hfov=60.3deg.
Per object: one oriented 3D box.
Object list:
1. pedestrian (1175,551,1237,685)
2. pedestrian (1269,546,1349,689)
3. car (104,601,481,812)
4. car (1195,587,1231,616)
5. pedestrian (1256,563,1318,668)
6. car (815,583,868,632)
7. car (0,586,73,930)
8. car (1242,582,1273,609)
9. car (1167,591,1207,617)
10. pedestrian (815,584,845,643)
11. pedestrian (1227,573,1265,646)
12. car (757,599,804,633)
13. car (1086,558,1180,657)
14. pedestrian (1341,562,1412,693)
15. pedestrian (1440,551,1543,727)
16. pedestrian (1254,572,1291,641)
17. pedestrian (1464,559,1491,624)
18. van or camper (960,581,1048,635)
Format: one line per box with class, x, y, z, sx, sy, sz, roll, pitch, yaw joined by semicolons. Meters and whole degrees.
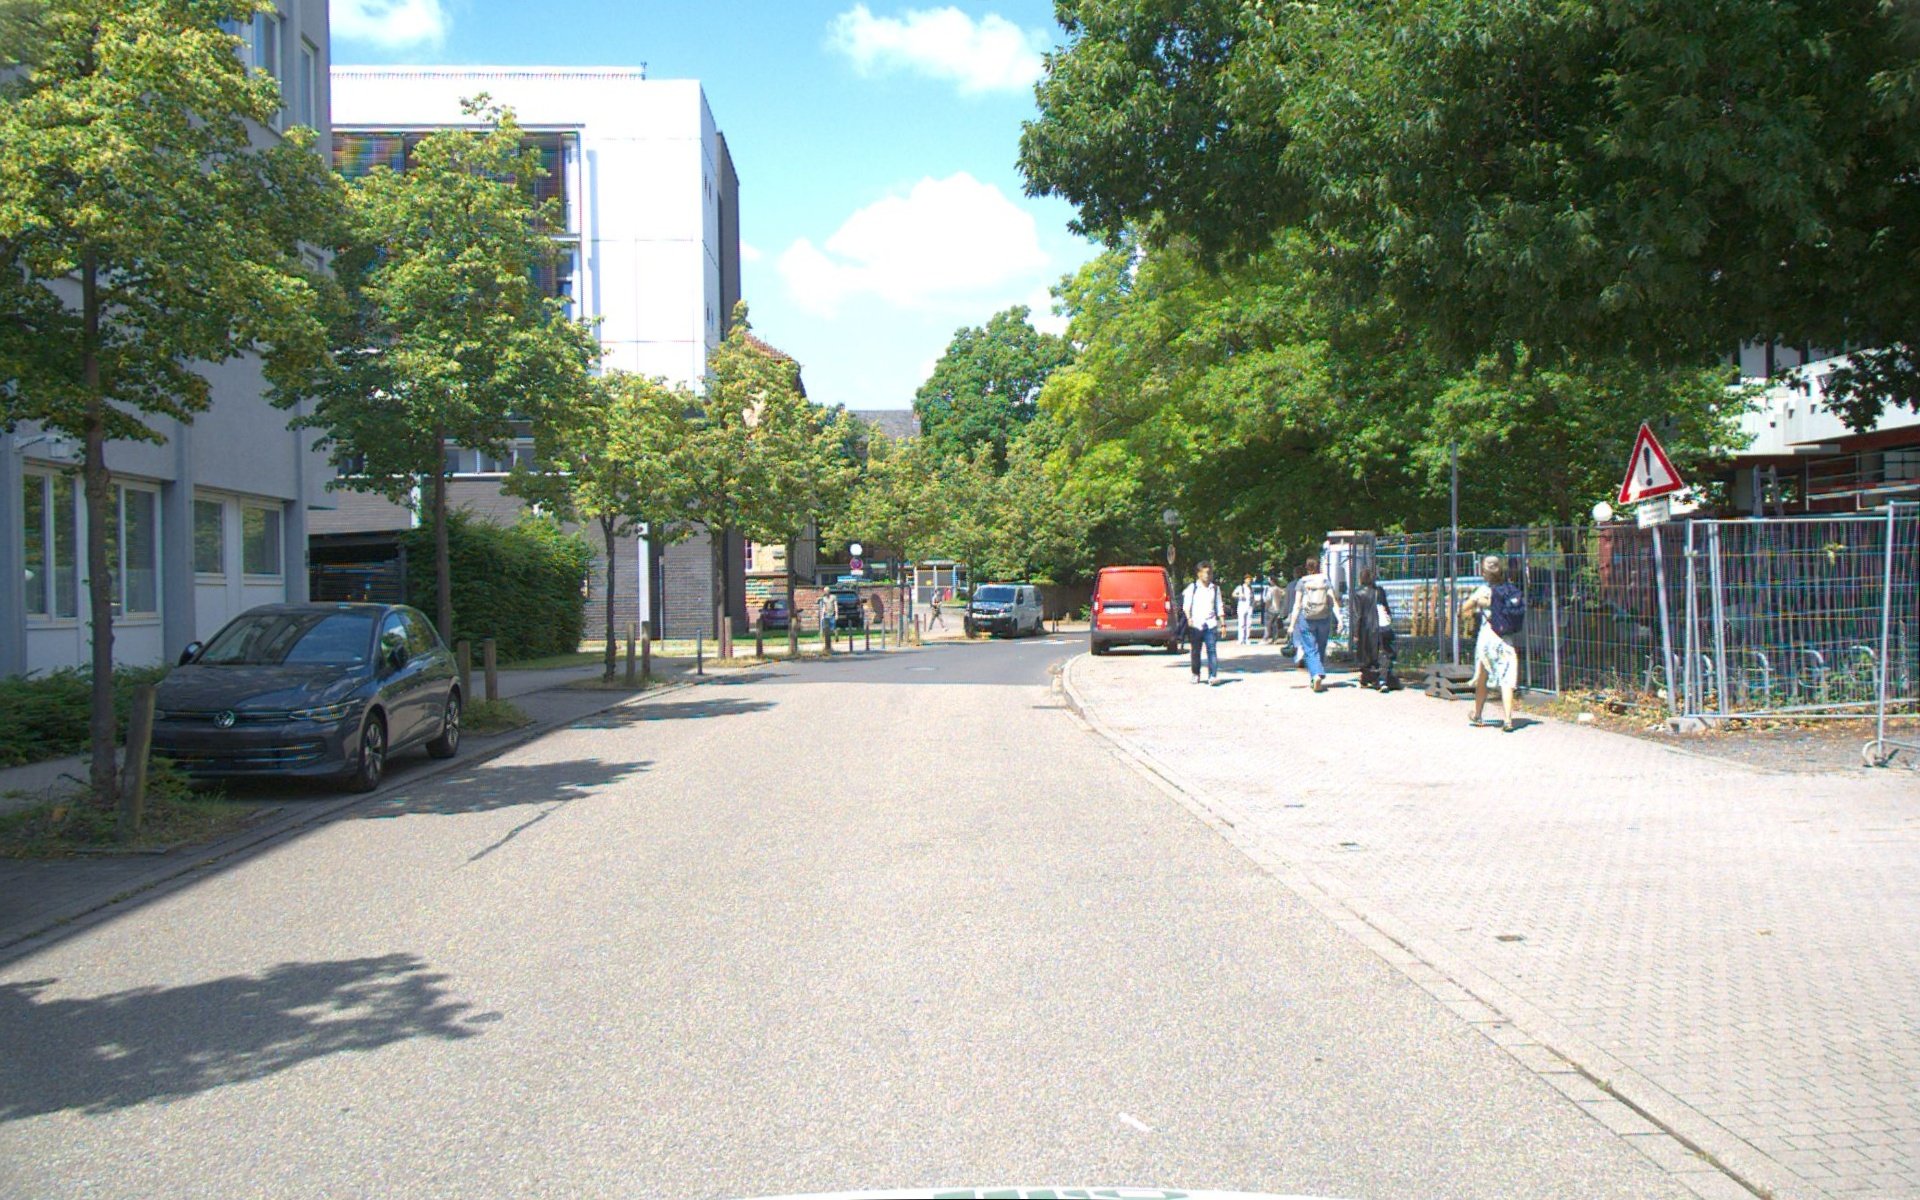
pedestrian;3.424;0.244;23.071;0.680;1.812;0.787;-2;0;-1
pedestrian;4.524;0.225;21.480;0.833;1.794;0.715;-2;0;-2
car;-5.417;0.764;14.047;1.743;1.486;4.255;0;0;-4
car;15.743;0.071;102.931;1.582;1.708;4.002;-1;0;18
pedestrian;5.286;0.241;26.760;0.701;1.660;0.708;-1;0;-15
car;-5.028;0.317;70.050;2.132;1.959;5.181;-1;0;-5
car;-5.180;0.752;6.270;1.663;1.591;4.064;-1;0;-4
car;21.121;-0.306;117.281;1.582;1.847;4.002;-1;0;18
car;13.007;0.227;94.682;1.582;1.412;4.002;-1;0;18
pedestrian;-3.967;0.410;50.572;0.571;1.795;0.912;-1;0;17
pedestrian;7.419;0.241;42.966;0.716;1.853;0.621;-1;0;-39
car;-7.557;0.664;70.012;1.781;1.347;3.765;-1;0;-4
car;3.772;0.133;35.631;1.809;1.924;4.894;-2;0;7
pedestrian;5.342;0.343;21.261;0.654;1.628;0.985;-2;0;2
pedestrian;5.304;0.379;16.547;0.636;1.695;0.903;-2;0;-5
pedestrian;7.955;0.168;42.107;0.738;1.740;0.556;-1;0;-39
pedestrian;15.235;-0.251;48.704;0.532;1.869;0.762;-1;0;3
van or camper;1.708;0.265;62.252;1.912;1.957;5.423;0;0;17
